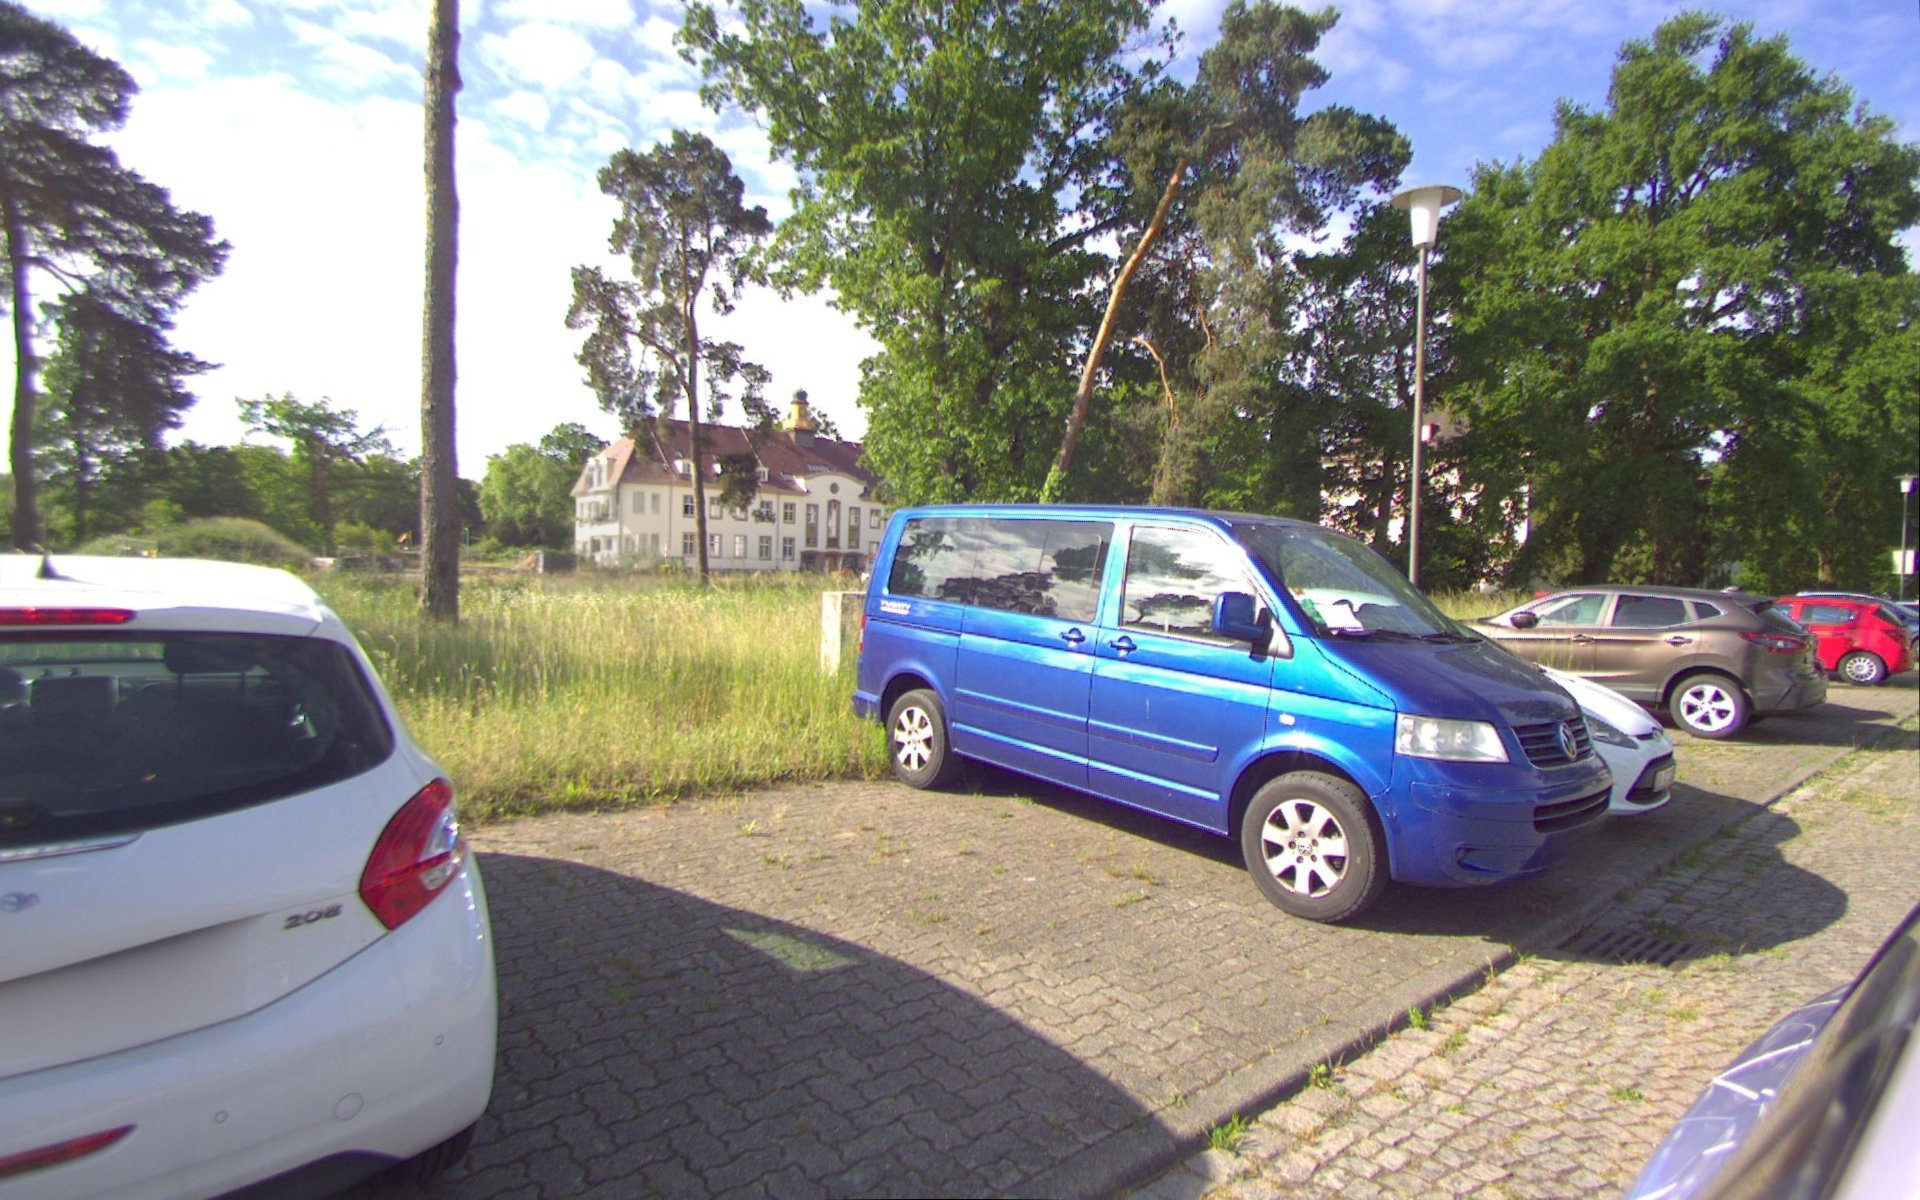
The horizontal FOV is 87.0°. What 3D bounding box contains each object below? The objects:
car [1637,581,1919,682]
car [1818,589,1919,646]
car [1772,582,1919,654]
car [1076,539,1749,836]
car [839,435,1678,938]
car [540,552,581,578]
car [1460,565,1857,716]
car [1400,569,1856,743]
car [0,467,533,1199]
[{"bbox_3d":[15.428,0.496,19.035,1.821,1.477,4.096,1,3,-41],"label":"car"},{"bbox_3d":[26.809,0.544,28.261,1.754,1.440,4.096,1,3,-41],"label":"car"},{"bbox_3d":[23.194,0.453,25.408,1.821,1.576,4.096,1,3,-41],"label":"car"},{"bbox_3d":[3.206,0.388,7.975,1.905,1.596,4.408,0,4,-40],"label":"car"},{"bbox_3d":[1.384,0.191,6.367,1.965,1.959,4.709,0,4,-40],"label":"car"},{"bbox_3d":[-36.479,-3.132,92.429,1.967,2.240,4.423,-1,1,-44],"label":"car"},{"bbox_3d":[9.619,0.415,14.204,1.902,1.617,4.233,-1,4,-43],"label":"car"},{"bbox_3d":[7.835,0.495,12.193,1.902,1.617,4.232,-1,3,-43],"label":"car"},{"bbox_3d":[-2.877,0.417,3.296,1.729,1.553,3.717,1,3,-39],"label":"car"}]
